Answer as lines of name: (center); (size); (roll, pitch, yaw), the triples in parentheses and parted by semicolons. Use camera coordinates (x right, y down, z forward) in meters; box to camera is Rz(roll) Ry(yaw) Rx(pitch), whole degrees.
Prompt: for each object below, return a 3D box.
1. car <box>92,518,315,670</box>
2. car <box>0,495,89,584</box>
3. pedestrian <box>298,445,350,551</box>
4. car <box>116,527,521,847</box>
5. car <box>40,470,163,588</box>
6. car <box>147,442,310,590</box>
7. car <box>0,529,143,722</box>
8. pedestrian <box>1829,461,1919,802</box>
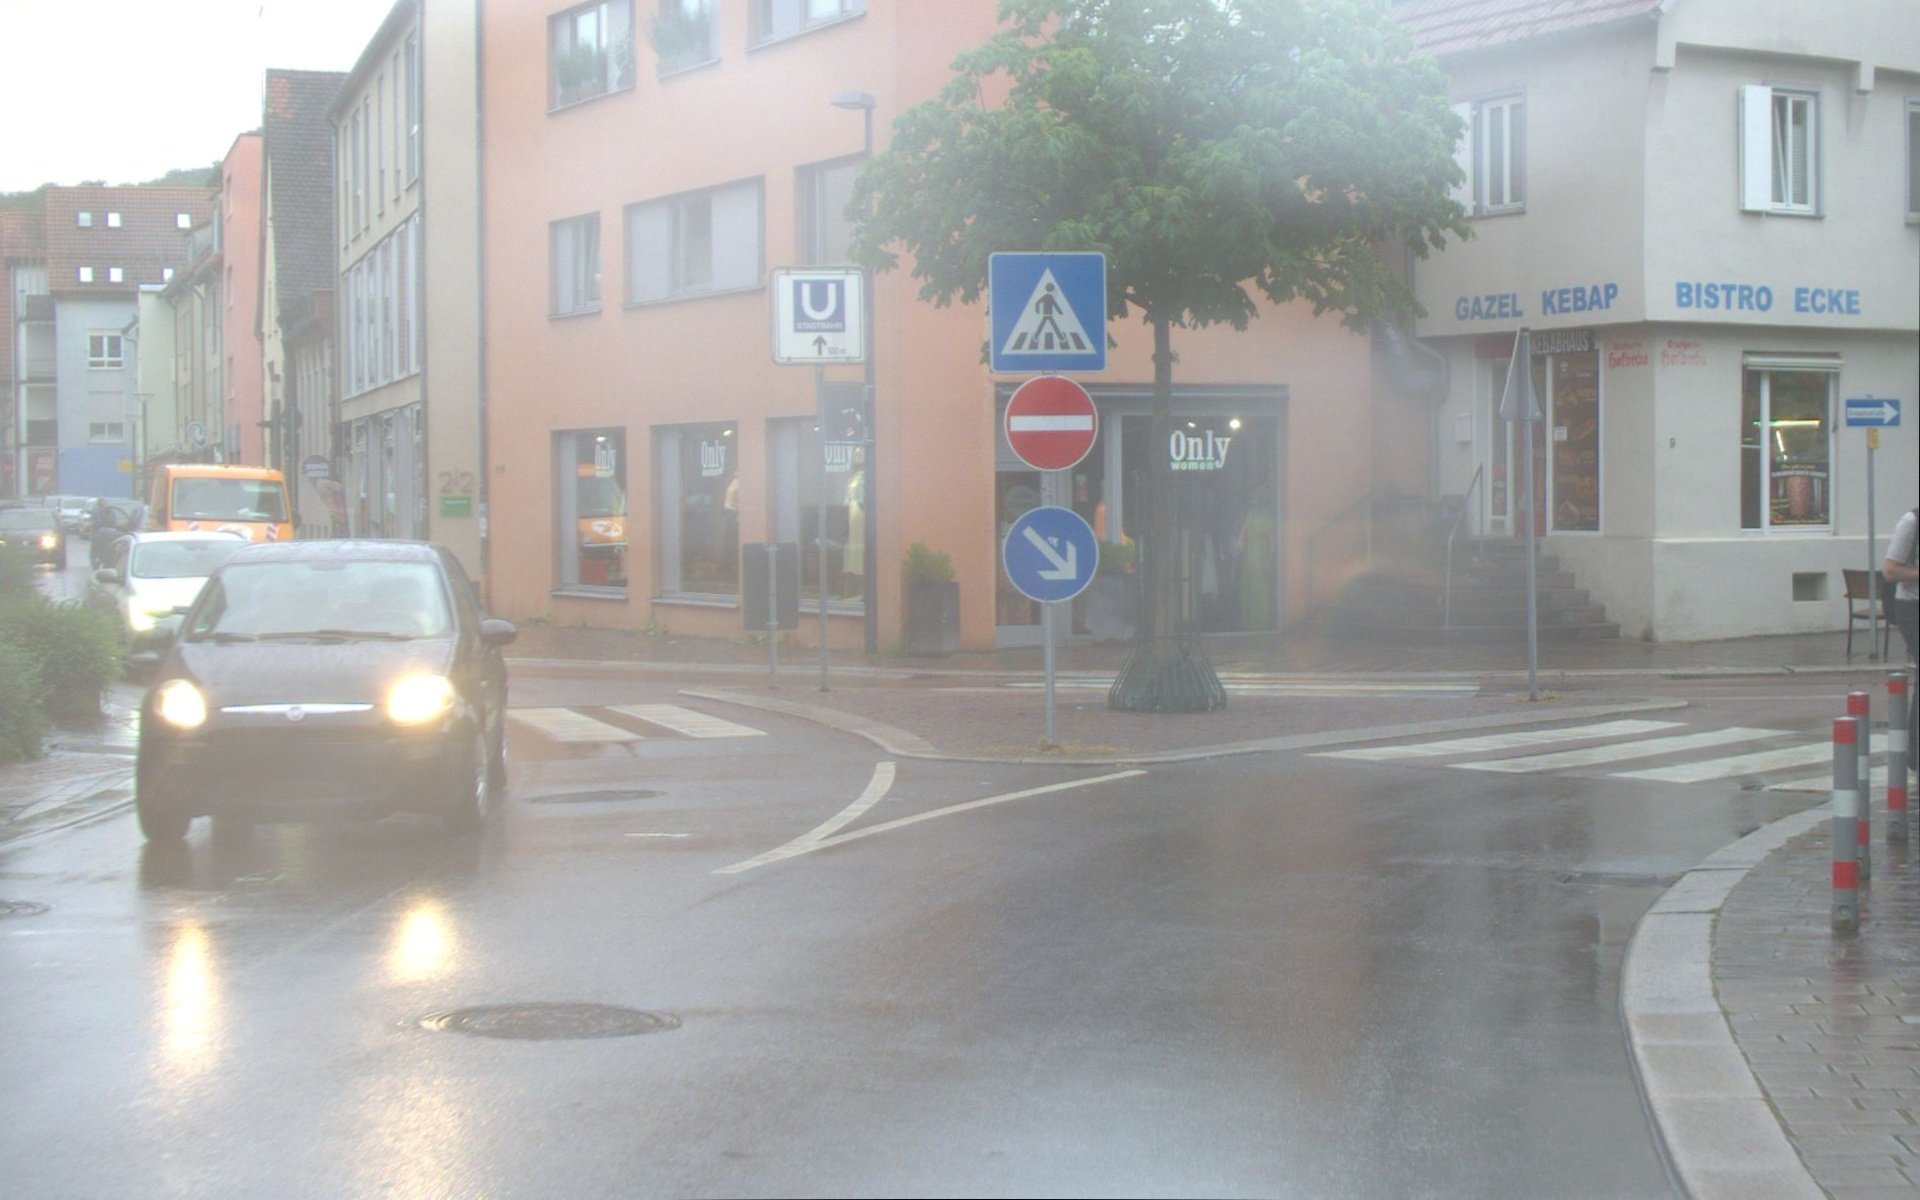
car: (-7.838, -0.110, 35.362); (1.993, 1.436, 4.165); (-1, 2, -16)
car: (-21.844, -1.437, 81.647); (1.993, 2.006, 4.364); (-3, 1, -12)
pedestrian: (-12.193, -1.953, 65.915); (0.866, 2.007, 0.708); (-1, 1, -18)
car: (-3.267, 0.366, 18.159); (1.648, 1.441, 3.985); (-2, 1, -5)
car: (-16.737, -1.379, 66.881); (2.103, 2.139, 4.869); (-3, 1, -16)
car: (-11.501, -1.296, 53.851); (2.103, 2.139, 4.869); (-3, 1, -16)
car: (-7.700, 0.154, 28.114); (1.714, 1.453, 3.911); (0, 1, -17)
pedestrian: (5.552, 0.168, 19.636); (0.756, 1.908, 0.864); (-1, 1, -37)
